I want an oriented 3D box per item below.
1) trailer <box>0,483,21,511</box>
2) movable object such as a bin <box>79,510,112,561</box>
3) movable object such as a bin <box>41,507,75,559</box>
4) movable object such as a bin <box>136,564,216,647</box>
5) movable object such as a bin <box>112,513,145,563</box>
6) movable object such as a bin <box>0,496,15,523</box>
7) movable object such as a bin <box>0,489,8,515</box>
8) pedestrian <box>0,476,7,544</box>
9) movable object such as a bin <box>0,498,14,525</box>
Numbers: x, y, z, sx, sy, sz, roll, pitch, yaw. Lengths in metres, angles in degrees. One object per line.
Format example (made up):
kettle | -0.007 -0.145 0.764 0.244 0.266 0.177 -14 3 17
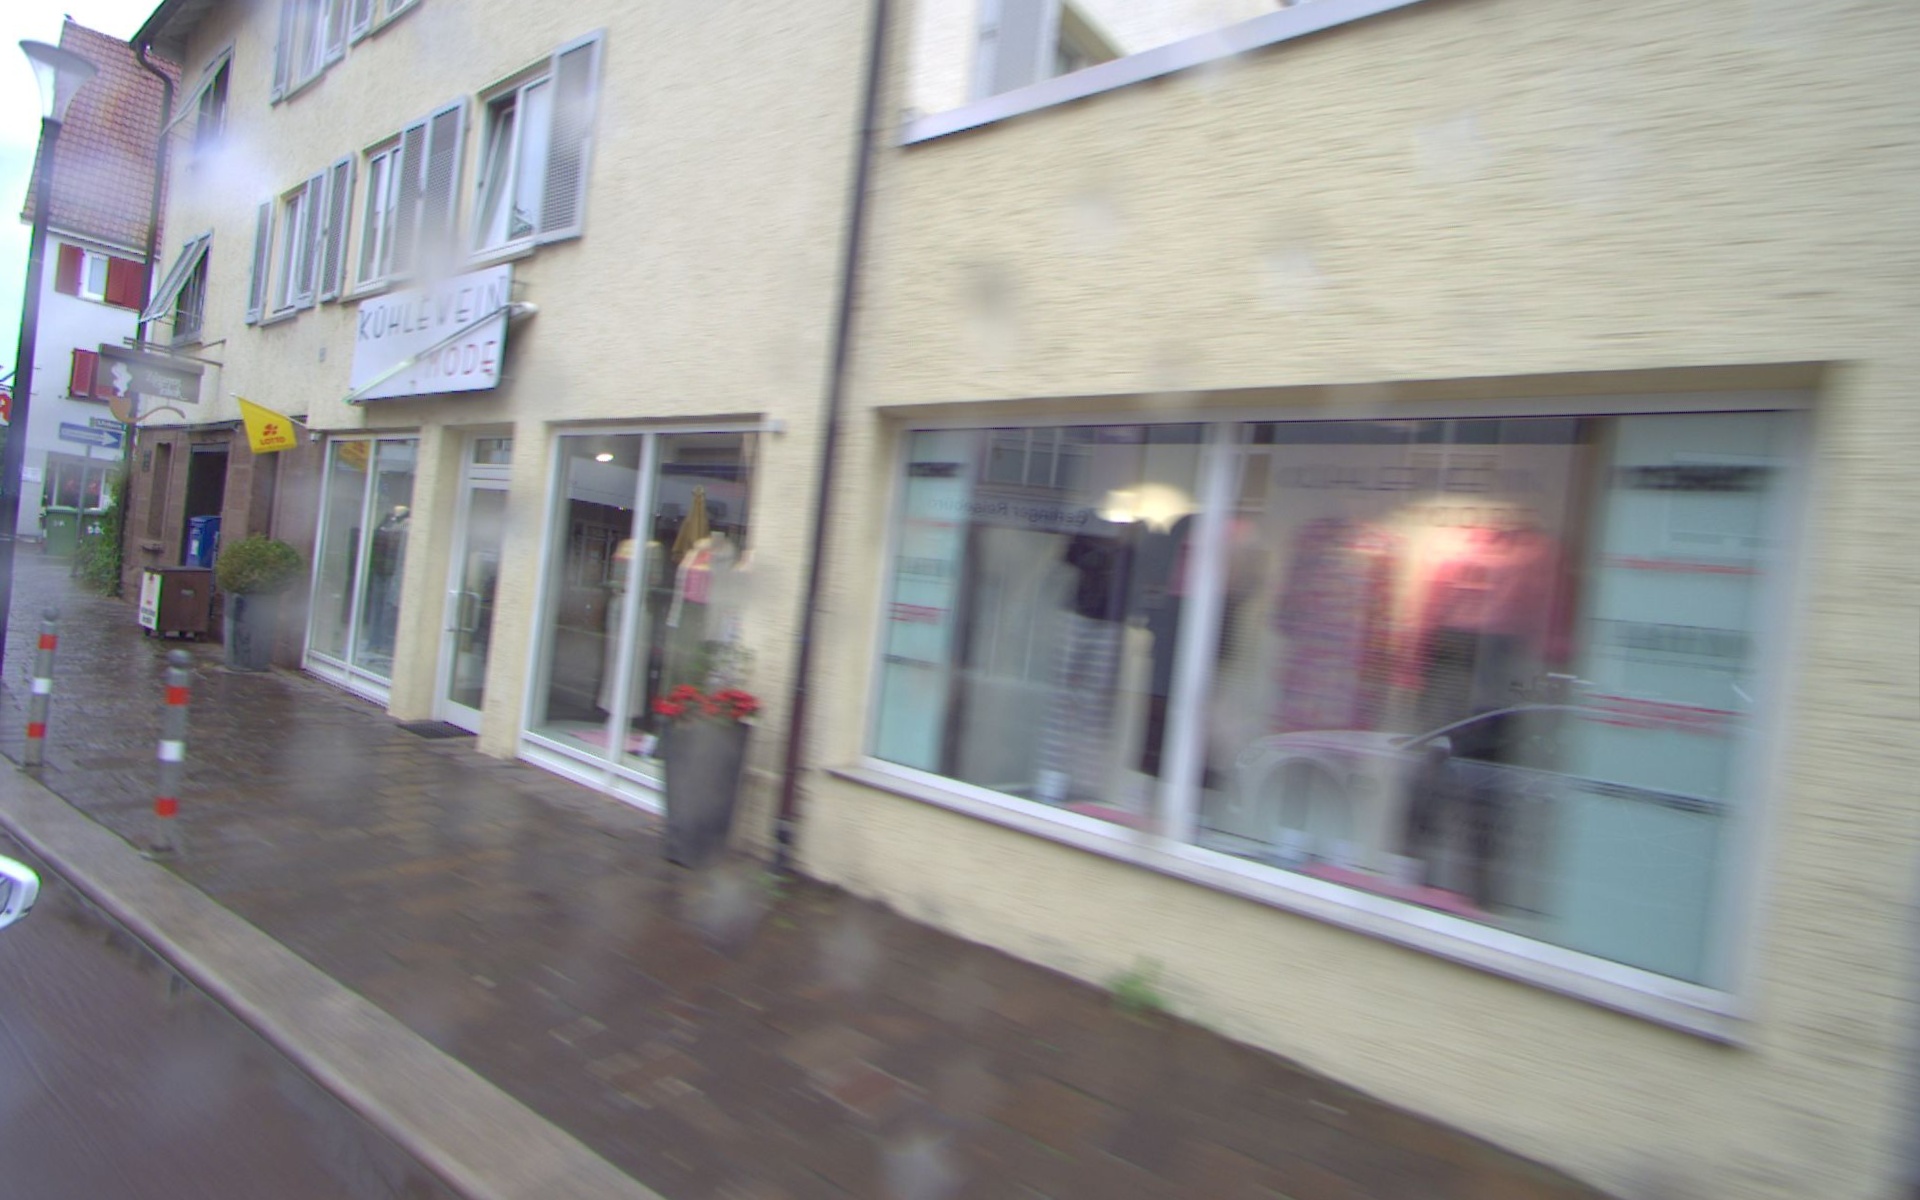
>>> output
trailer | -111.997 -12.158 115.488 1.973 2.982 5.773 5 -2 42
movable object such as a bin | -19.288 -1.429 22.450 0.498 1.070 0.542 4 1 -43
movable object such as a bin | -19.742 -1.457 22.025 0.498 1.070 0.542 4 1 -43
movable object such as a bin | -9.087 0.060 11.652 0.897 0.847 0.544 7 3 42
movable object such as a bin | -18.868 -1.399 22.833 0.498 1.070 0.542 4 1 -43
movable object such as a bin | -43.943 -4.173 46.143 0.801 1.144 0.852 7 -2 -44
movable object such as a bin | -50.500 -5.189 52.800 0.635 1.305 0.626 7 -1 -38
pedestrian | -25.317 -2.384 25.788 1.162 1.719 1.174 7 1 45
movable object such as a bin | -49.750 -4.607 52.324 0.635 1.305 0.626 7 -1 -38
